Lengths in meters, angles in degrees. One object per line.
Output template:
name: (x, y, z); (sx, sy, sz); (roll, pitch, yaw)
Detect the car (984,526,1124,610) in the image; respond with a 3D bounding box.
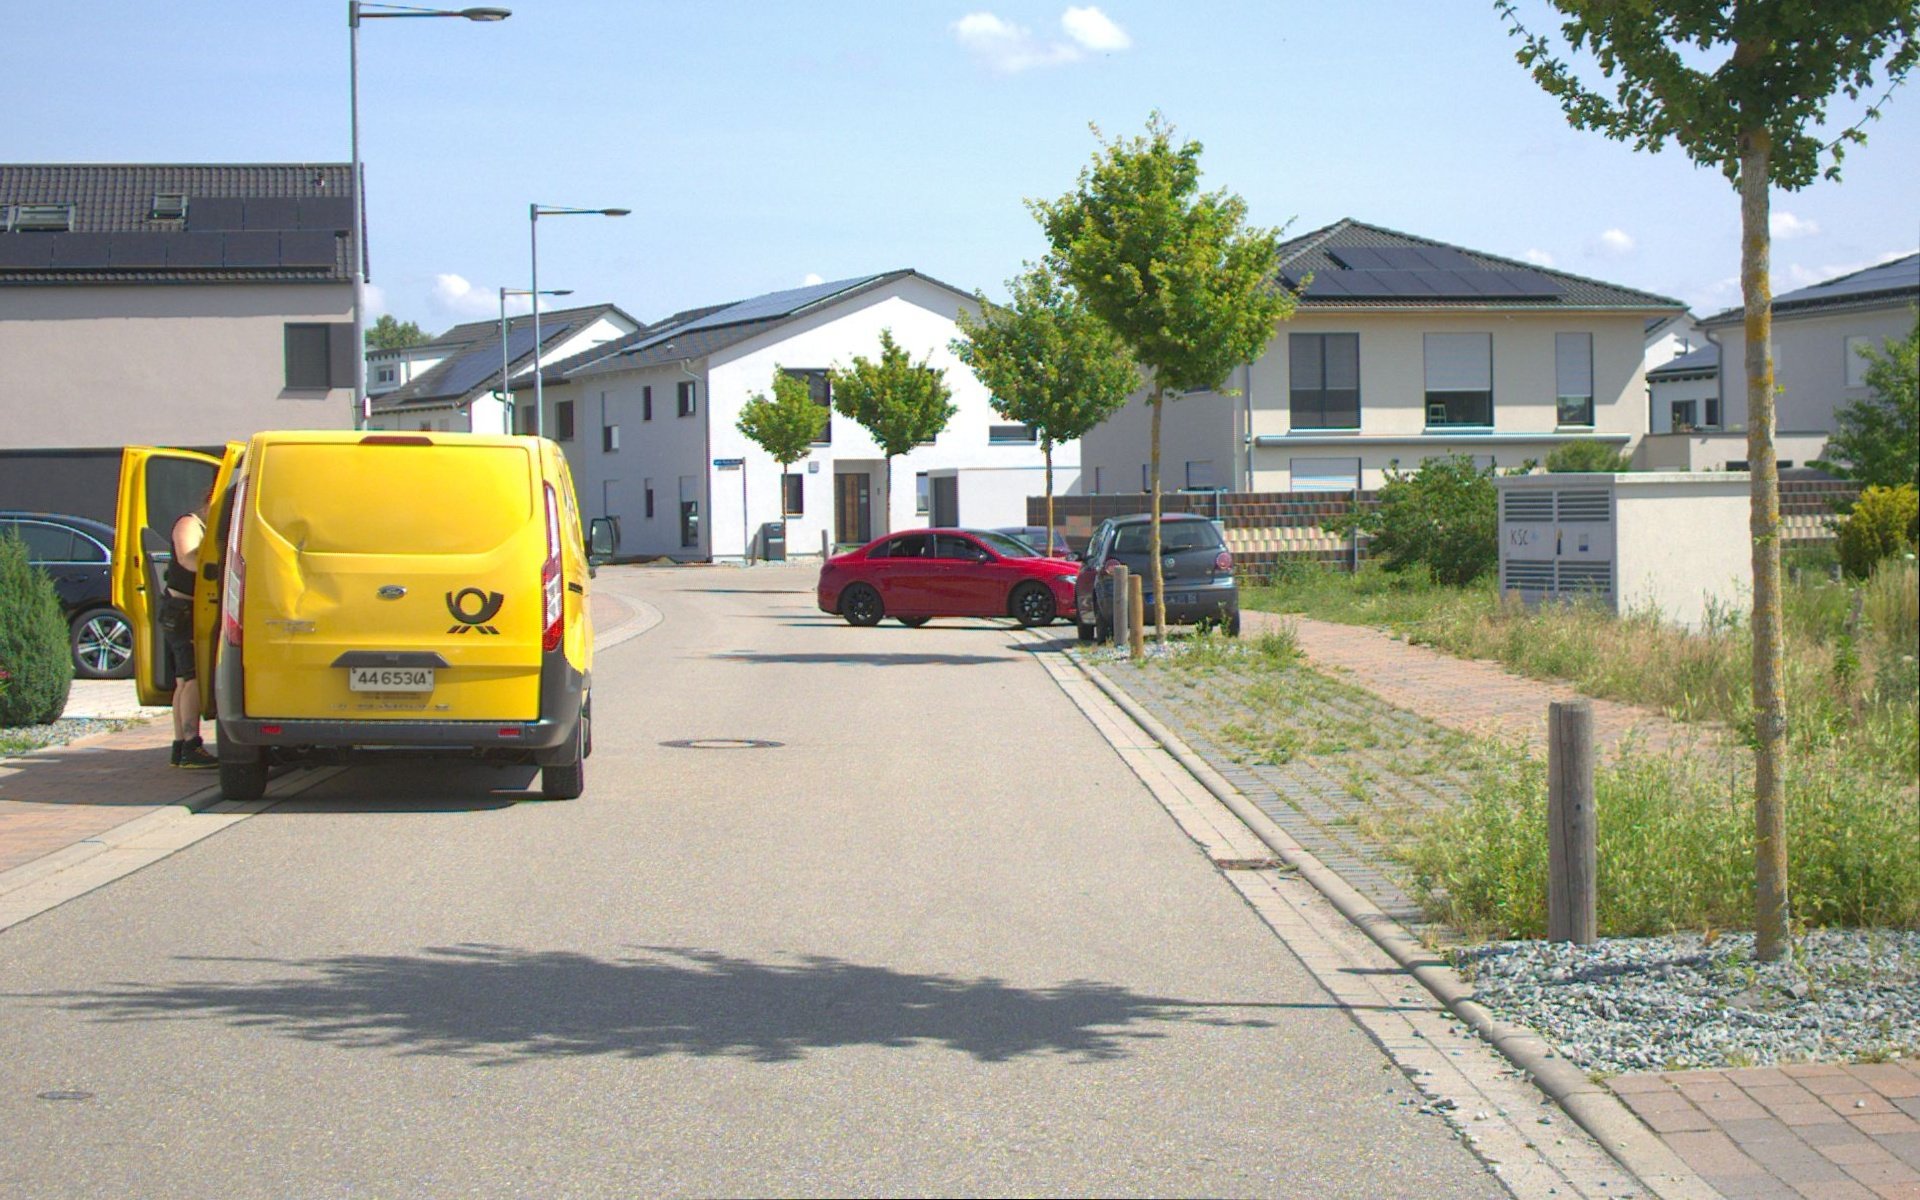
car: (1.568, -0.572, 58.960); (1.754, 1.358, 4.577); (0, 1, -7)

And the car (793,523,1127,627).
car: (-0.014, -0.385, 49.447); (4.511, 1.433, 1.766); (1, 1, 28)

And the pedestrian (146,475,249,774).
pedestrian: (-4.481, 0.137, 20.216); (0.531, 1.732, 0.570); (1, 2, -7)

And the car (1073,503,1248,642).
car: (2.286, -0.352, 39.937); (1.598, 1.470, 3.675); (-3, 2, -2)

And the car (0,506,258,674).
car: (-8.513, -0.109, 30.517); (4.391, 1.447, 1.750); (0, 1, -14)

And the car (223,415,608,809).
car: (-3.057, 0.019, 20.169); (1.883, 2.007, 4.842); (1, 1, -5)
